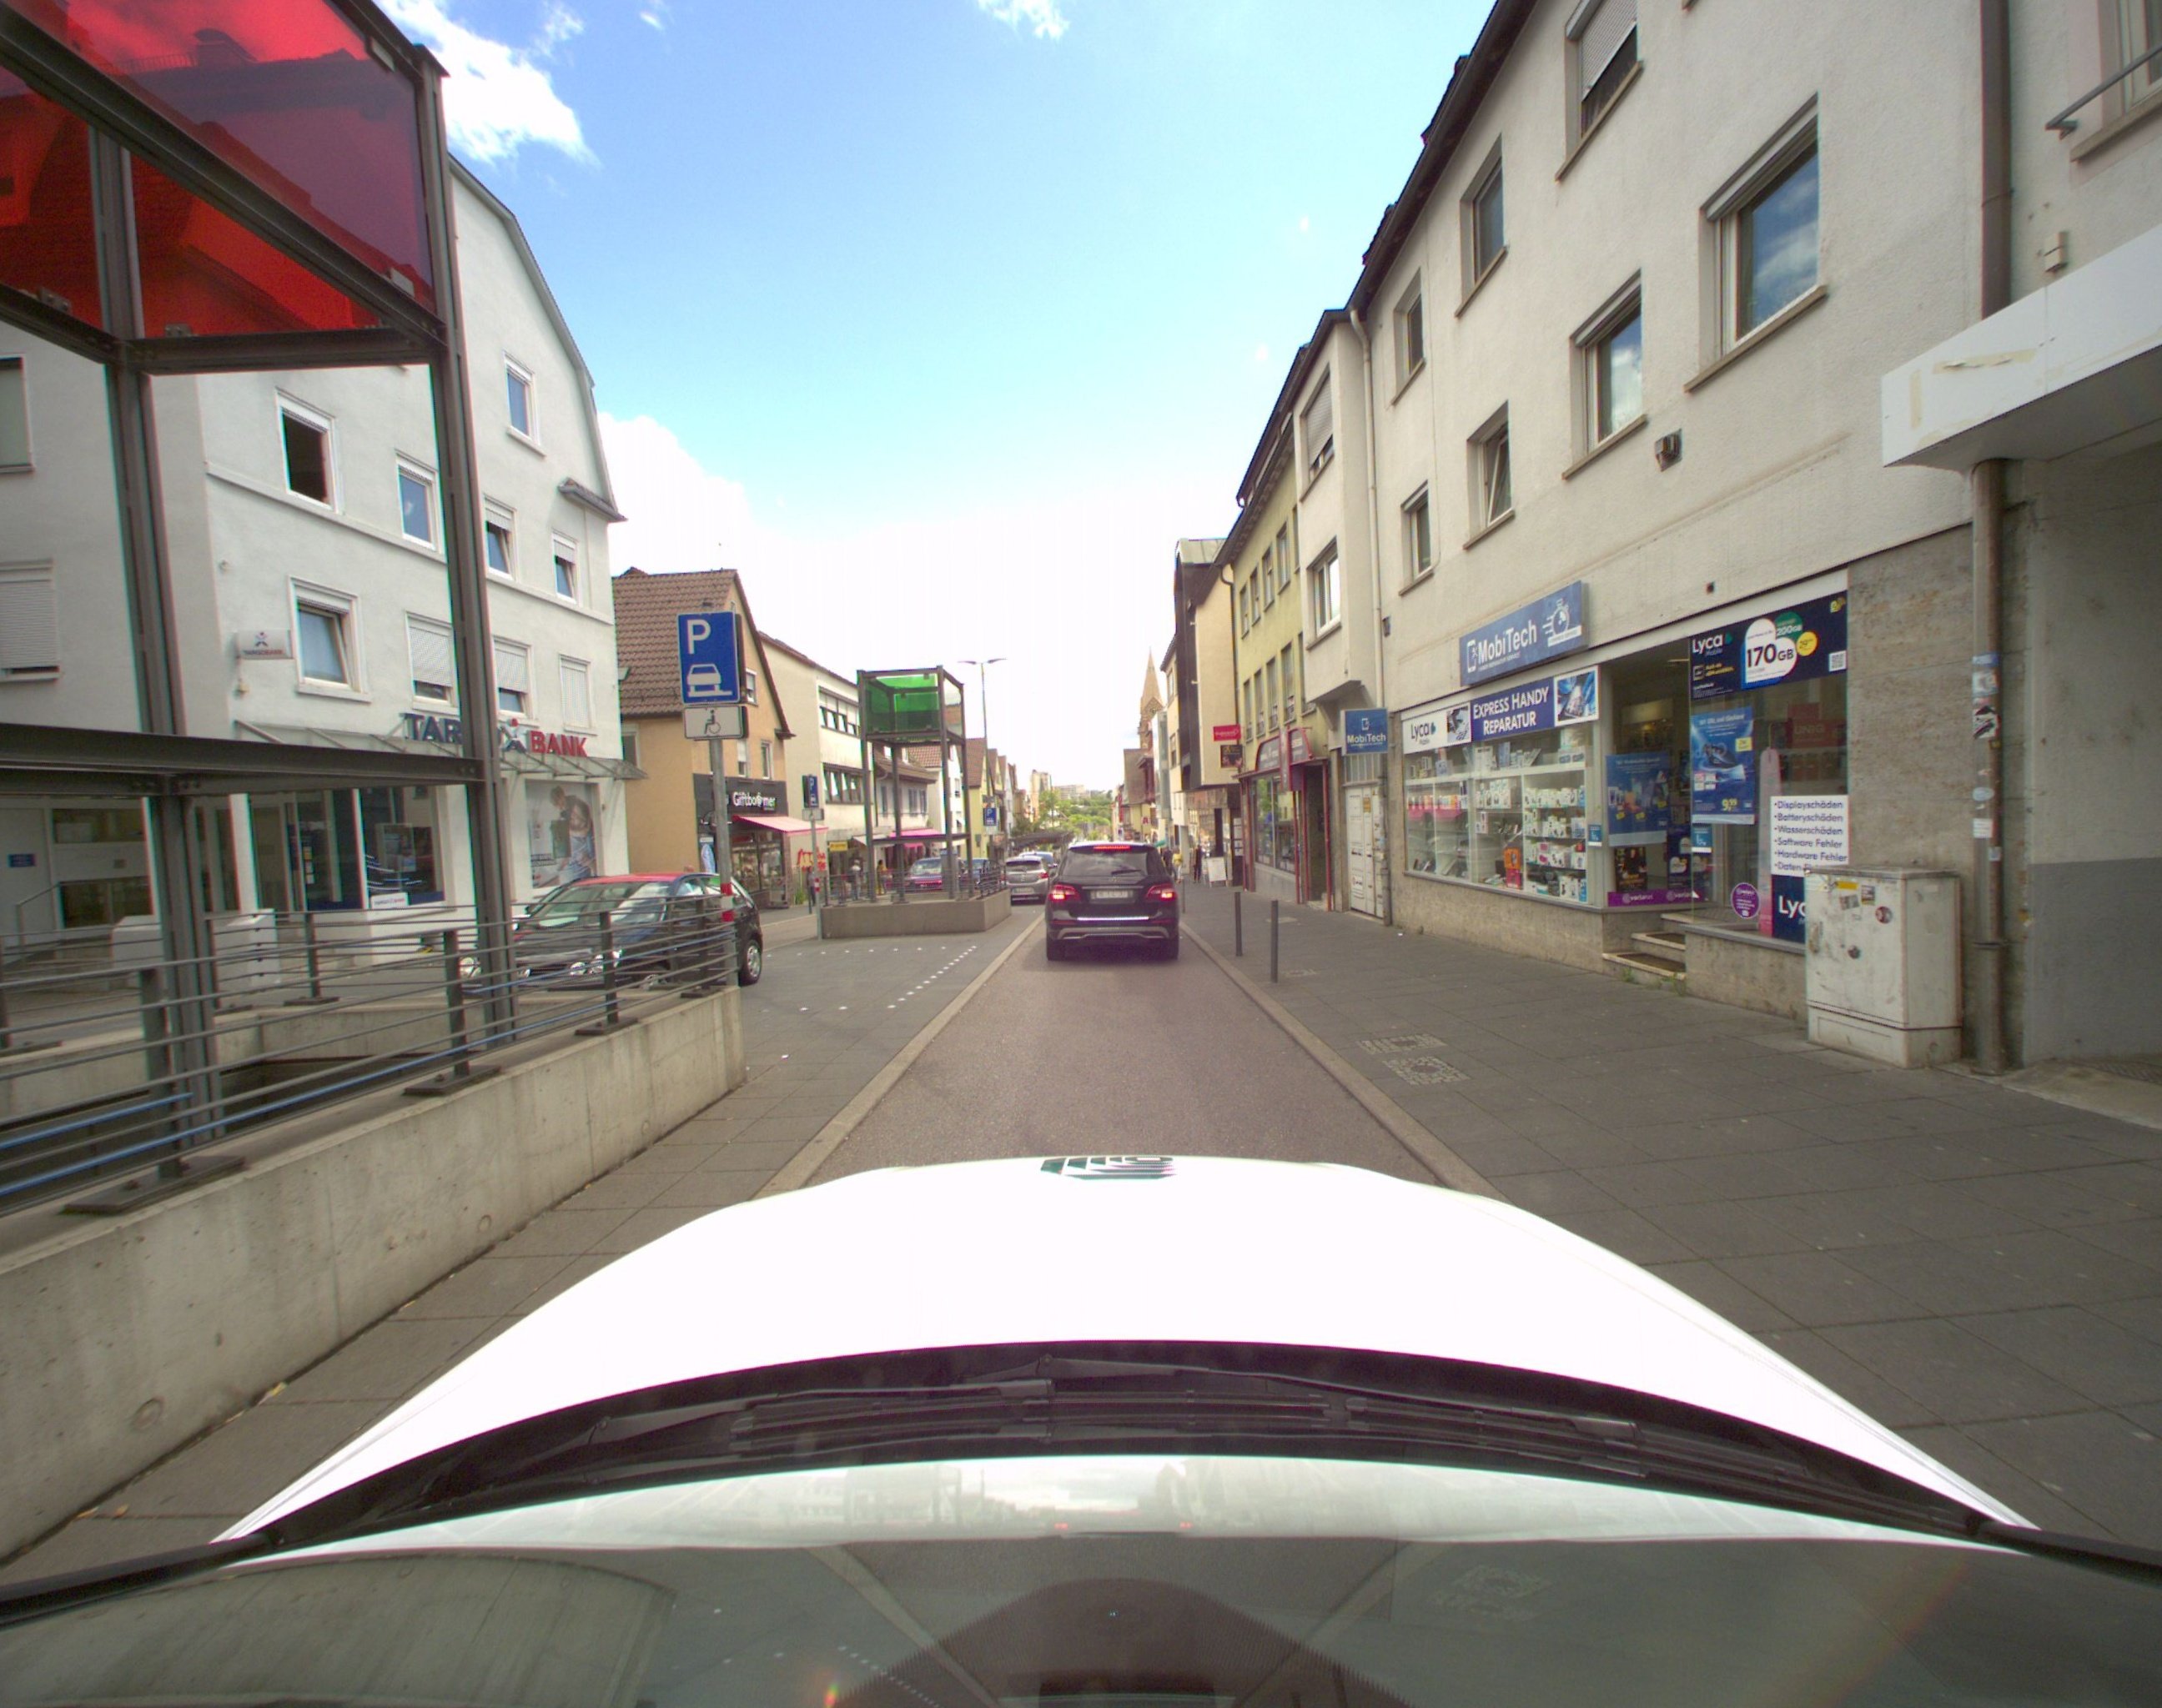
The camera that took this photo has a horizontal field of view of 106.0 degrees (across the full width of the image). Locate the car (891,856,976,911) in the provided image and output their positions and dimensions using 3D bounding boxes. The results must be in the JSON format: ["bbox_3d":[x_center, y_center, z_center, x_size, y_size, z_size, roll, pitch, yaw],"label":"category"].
[{"bbox_3d":[-4.391,0.831,24.875,1.733,1.543,4.194,-1,0,1],"label":"car"}]

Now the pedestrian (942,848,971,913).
[{"bbox_3d":[-3.291,0.682,21.528,0.531,1.672,0.902,-2,0,3],"label":"pedestrian"}]

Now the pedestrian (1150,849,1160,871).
[{"bbox_3d":[5.664,0.461,62.438,0.572,1.689,0.565,-4,0,-5],"label":"pedestrian"}]

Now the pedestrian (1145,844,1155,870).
[{"bbox_3d":[4.591,0.215,54.260,0.620,1.689,0.565,0,0,-5],"label":"pedestrian"}]

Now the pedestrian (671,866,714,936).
[{"bbox_3d":[-9.608,1.142,20.150,0.637,1.689,0.827,-1,0,-1],"label":"pedestrian"}]

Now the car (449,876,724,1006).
[{"bbox_3d":[-7.348,1.190,12.663,1.673,1.571,4.123,-1,0,1],"label":"car"}]

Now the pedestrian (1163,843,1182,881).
[{"bbox_3d":[4.313,0.362,38.483,0.708,1.753,0.785,-4,0,1],"label":"pedestrian"}]

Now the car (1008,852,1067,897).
[{"bbox_3d":[-1.618,0.748,31.629,1.949,1.639,4.315,-1,0,1],"label":"car"}]

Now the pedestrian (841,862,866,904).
[{"bbox_3d":[-9.154,1.159,32.795,0.638,1.689,0.670,-2,-1,41],"label":"pedestrian"}]

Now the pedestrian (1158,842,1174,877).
[{"bbox_3d":[4.325,0.266,41.327,0.708,1.753,0.787,-2,0,1],"label":"pedestrian"}]

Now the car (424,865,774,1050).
[{"bbox_3d":[-4.834,0.909,8.881,1.564,1.475,3.853,-2,0,-2],"label":"car"}]

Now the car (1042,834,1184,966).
[{"bbox_3d":[0.417,0.620,12.919,1.895,1.747,3.999,-1,0,-1],"label":"car"}]

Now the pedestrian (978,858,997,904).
[{"bbox_3d":[-2.993,0.867,26.064,0.465,1.431,0.492,-4,0,1],"label":"pedestrian"}]

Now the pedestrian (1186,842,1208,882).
[{"bbox_3d":[5.051,0.336,35.442,0.662,1.689,0.542,-6,0,-5],"label":"pedestrian"}]

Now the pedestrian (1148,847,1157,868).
[{"bbox_3d":[5.559,0.271,63.192,0.572,1.689,0.565,0,0,-5],"label":"pedestrian"}]

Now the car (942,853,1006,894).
[{"bbox_3d":[-4.129,0.733,32.010,1.731,1.475,3.888,0,1,4],"label":"car"}]

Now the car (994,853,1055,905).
[{"bbox_3d":[-1.738,0.754,26.040,1.614,1.532,3.671,-1,0,1],"label":"car"}]

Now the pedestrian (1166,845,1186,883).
[{"bbox_3d":[4.257,0.432,36.628,0.708,1.631,0.835,-4,0,1],"label":"pedestrian"}]

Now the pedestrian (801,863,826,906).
[{"bbox_3d":[-10.259,1.167,31.261,0.561,1.573,0.718,-4,0,9],"label":"pedestrian"}]
